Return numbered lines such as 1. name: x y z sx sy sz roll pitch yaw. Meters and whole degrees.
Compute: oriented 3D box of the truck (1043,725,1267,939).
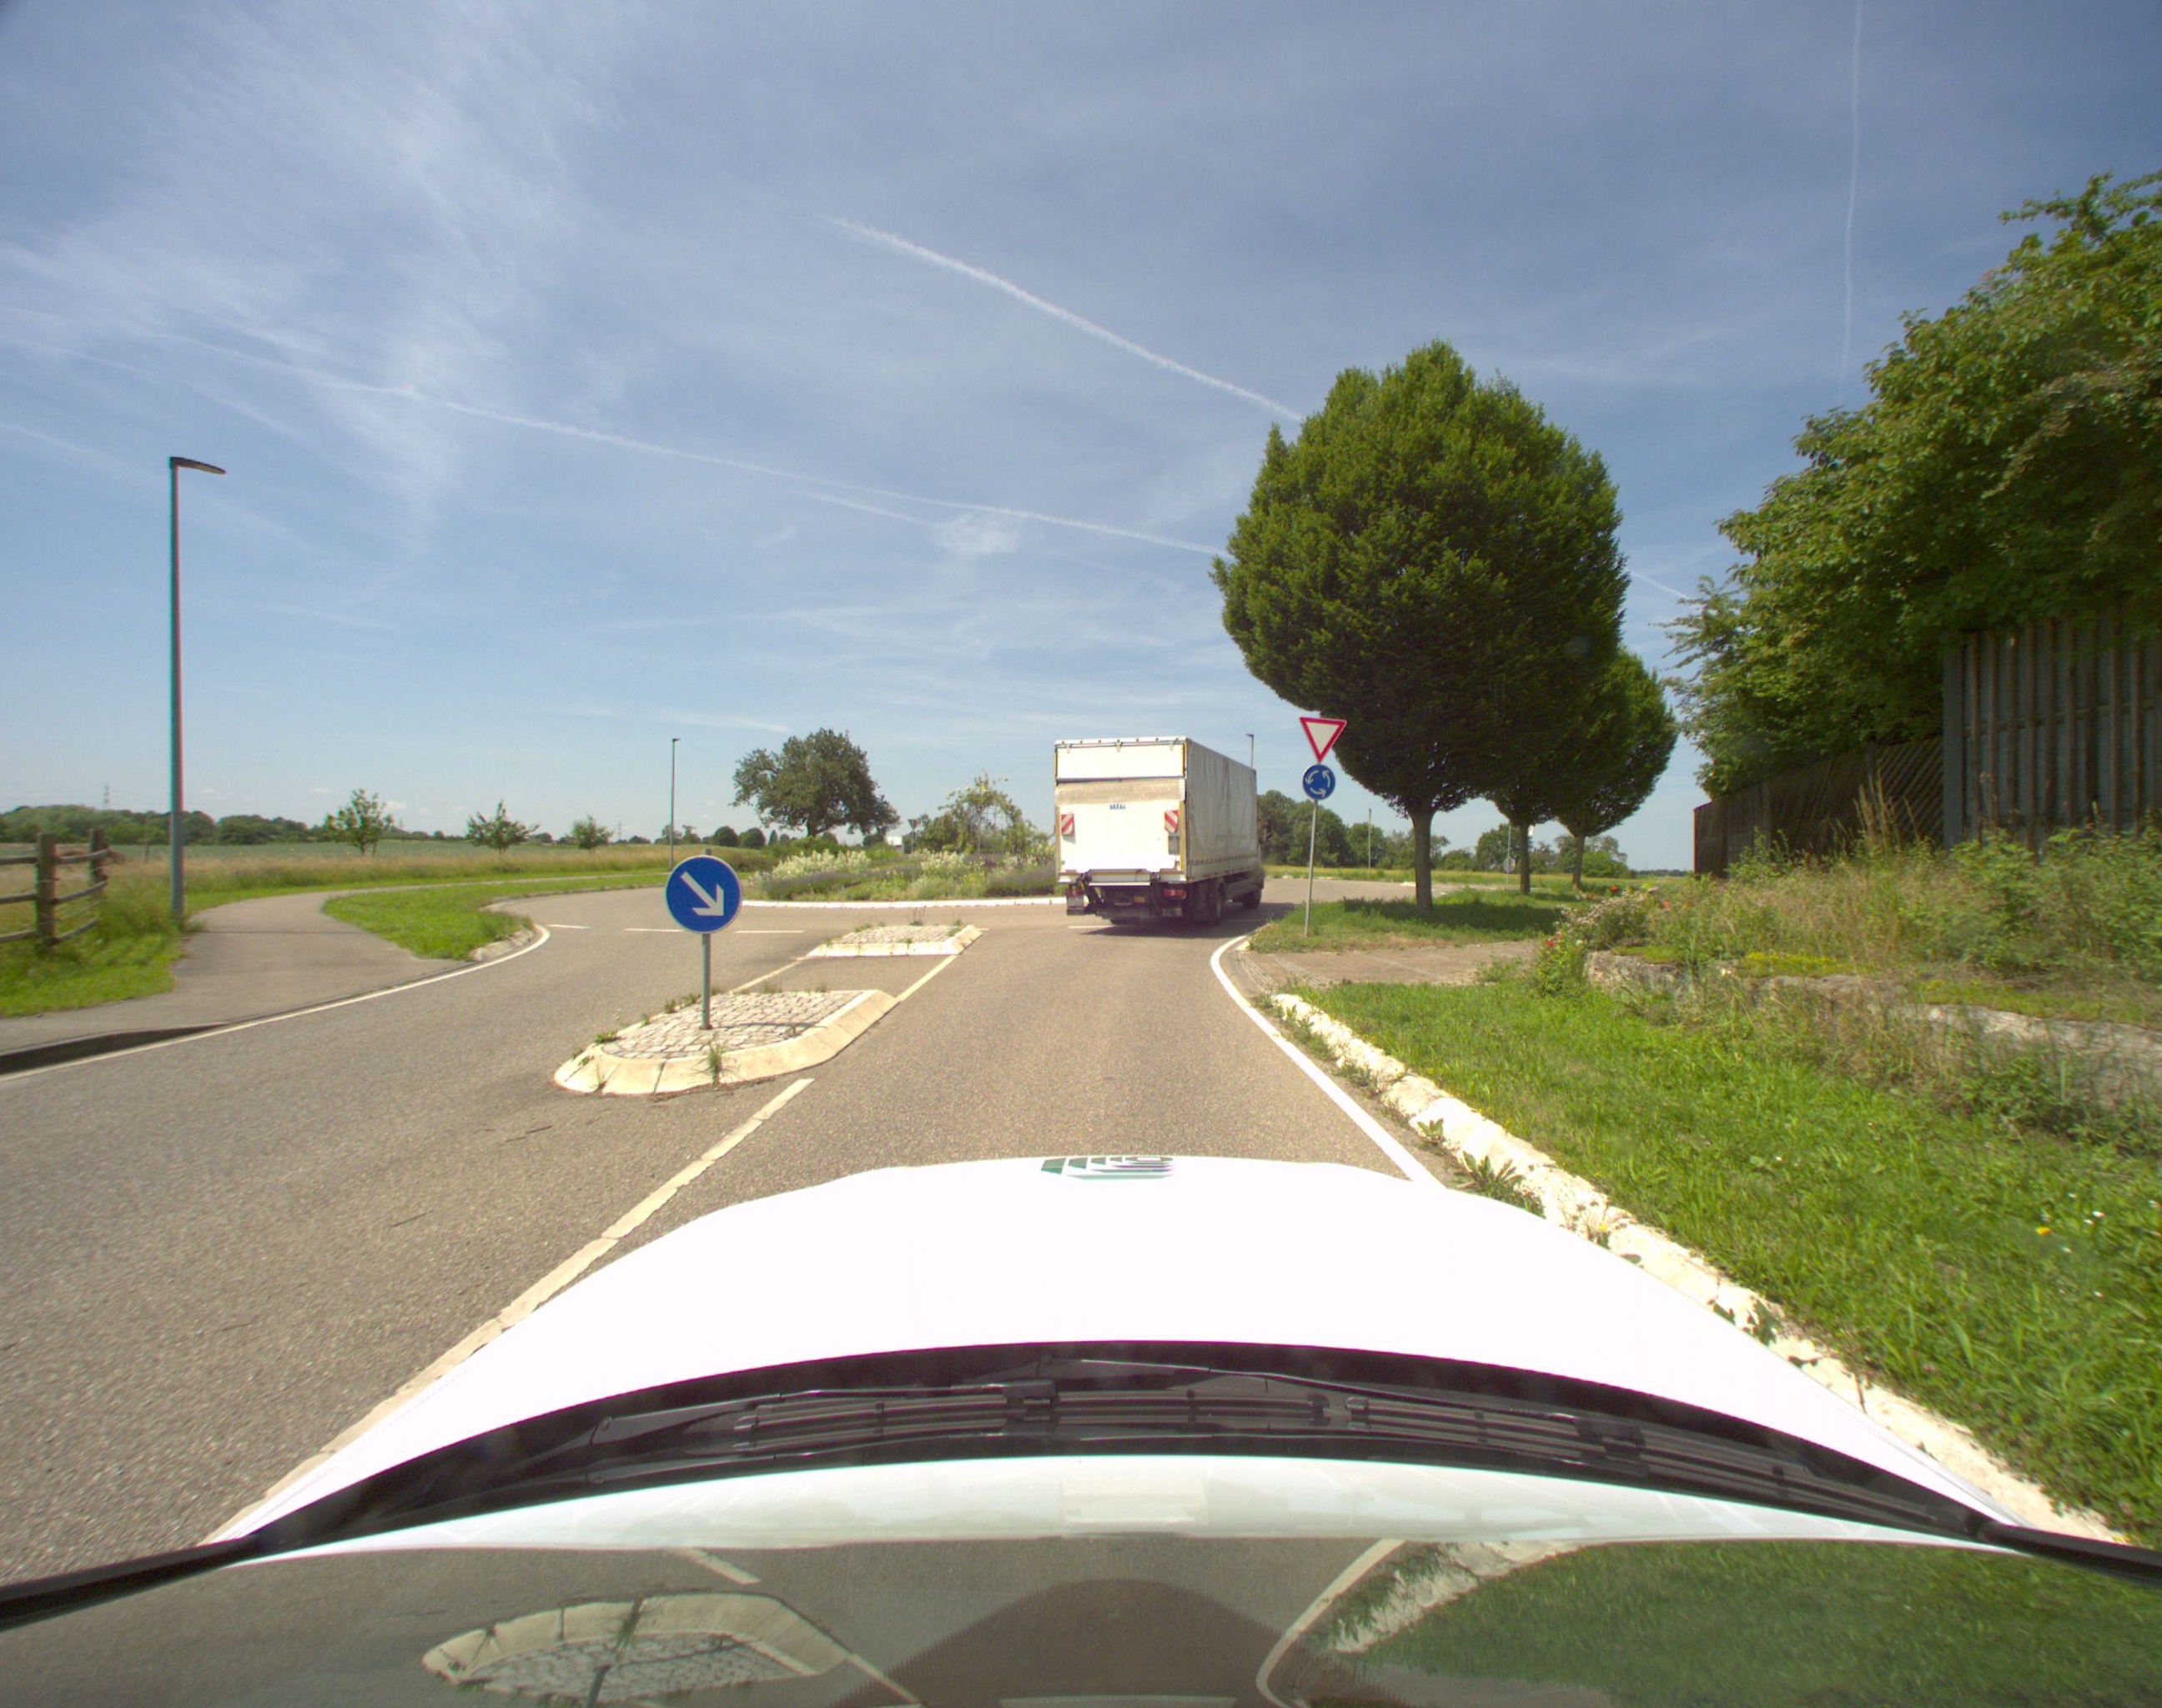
1. truck: 2.267 -0.403 18.891 2.743 3.670 9.431 0 0 21
